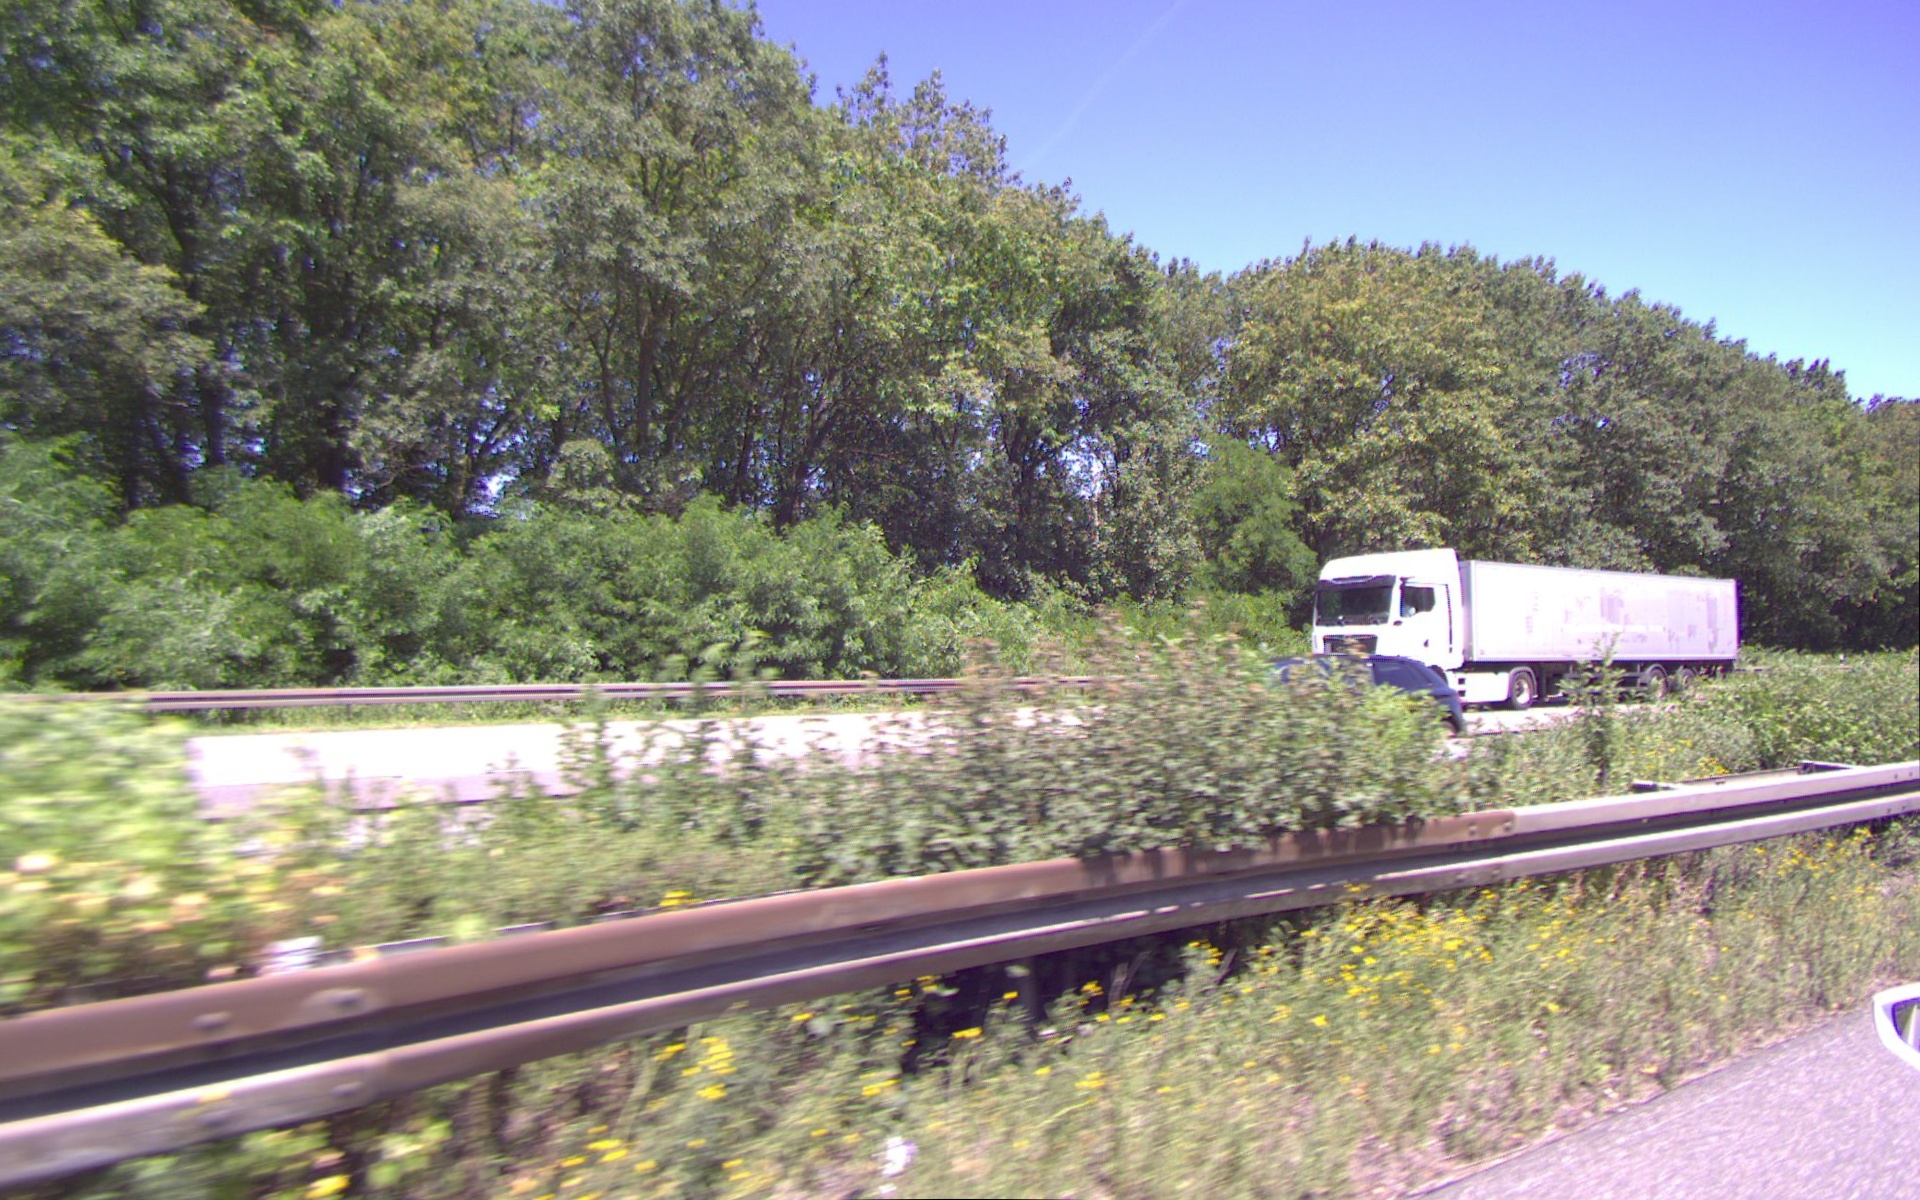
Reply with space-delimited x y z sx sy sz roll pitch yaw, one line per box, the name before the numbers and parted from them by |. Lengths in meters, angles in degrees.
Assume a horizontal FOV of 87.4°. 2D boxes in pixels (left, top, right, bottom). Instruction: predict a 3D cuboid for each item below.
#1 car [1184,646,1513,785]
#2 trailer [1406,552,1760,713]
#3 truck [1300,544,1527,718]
car | 4.876 1.316 12.482 3.970 1.423 1.802 2 -1 -32
trailer | 18.515 0.970 29.214 13.484 3.929 2.895 2 -1 -31
truck | 11.248 0.764 24.903 4.828 3.874 2.876 2 -1 -31
